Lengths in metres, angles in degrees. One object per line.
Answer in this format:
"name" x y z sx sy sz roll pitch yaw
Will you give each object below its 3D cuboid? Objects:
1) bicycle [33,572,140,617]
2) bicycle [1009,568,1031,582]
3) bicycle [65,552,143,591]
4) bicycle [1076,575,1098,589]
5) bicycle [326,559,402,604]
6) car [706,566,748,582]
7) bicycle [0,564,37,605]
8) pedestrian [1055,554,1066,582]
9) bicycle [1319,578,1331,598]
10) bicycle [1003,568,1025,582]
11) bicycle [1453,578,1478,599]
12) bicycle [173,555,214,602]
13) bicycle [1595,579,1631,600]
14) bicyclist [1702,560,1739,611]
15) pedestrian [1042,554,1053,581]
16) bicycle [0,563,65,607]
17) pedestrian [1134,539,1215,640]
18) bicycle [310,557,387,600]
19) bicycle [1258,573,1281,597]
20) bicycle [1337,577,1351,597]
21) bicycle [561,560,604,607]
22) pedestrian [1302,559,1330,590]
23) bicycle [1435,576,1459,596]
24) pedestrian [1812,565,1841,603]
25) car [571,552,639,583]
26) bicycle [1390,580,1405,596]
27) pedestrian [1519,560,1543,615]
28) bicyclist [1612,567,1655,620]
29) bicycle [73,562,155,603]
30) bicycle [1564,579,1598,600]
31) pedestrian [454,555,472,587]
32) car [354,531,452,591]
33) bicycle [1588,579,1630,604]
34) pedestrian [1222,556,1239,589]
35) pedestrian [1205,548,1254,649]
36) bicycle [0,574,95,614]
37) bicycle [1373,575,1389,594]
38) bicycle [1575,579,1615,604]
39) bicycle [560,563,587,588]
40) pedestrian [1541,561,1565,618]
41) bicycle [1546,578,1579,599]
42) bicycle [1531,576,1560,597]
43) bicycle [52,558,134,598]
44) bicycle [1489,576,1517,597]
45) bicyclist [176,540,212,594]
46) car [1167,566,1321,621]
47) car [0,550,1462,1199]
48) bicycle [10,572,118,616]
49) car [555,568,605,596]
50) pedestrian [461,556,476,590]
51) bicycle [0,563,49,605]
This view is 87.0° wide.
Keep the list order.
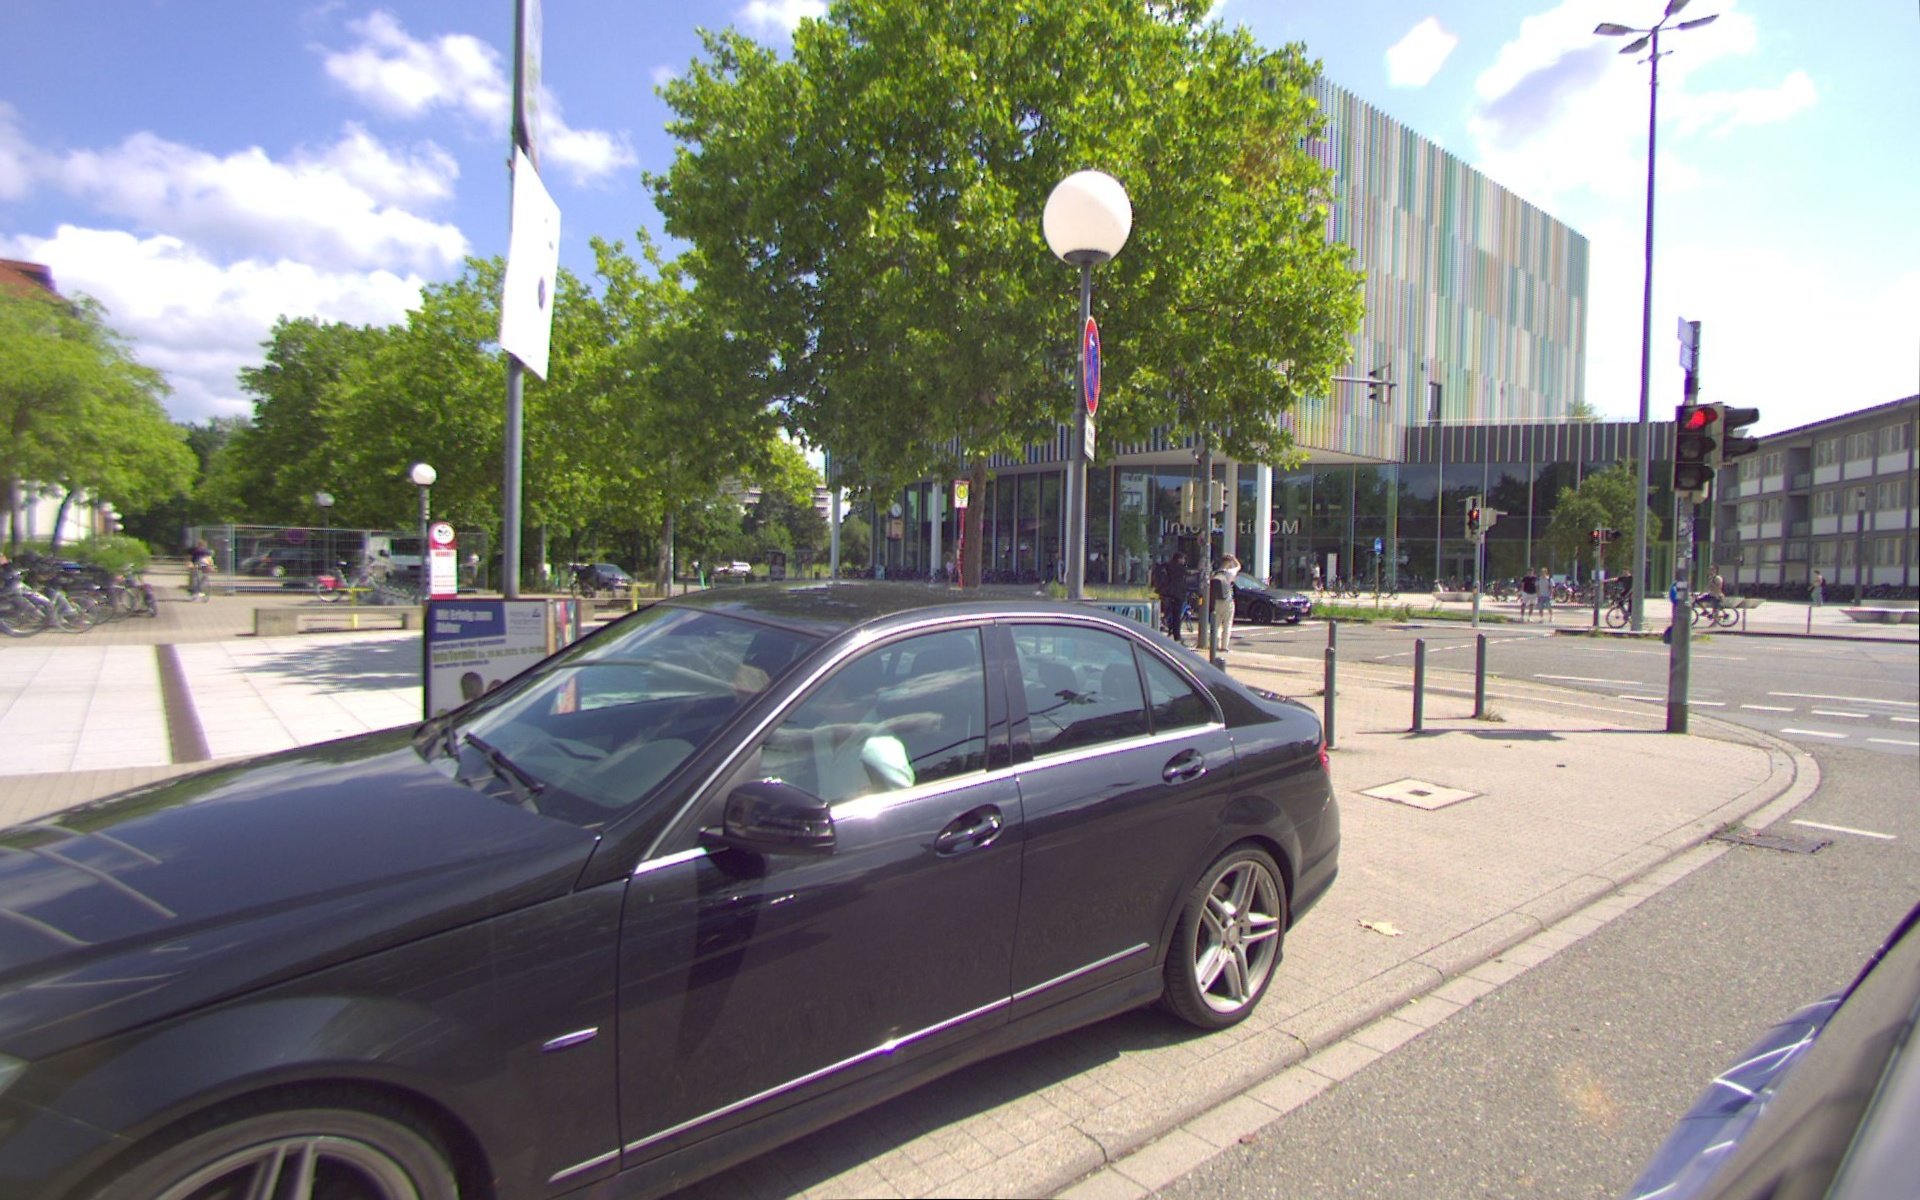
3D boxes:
"bicycle" -19.524 -0.144 22.655 0.596 0.966 1.756 0 1 20
"bicycle" 4.112 -1.707 69.070 1.515 0.967 0.374 -2 3 -24
"bicycle" -26.217 -0.889 31.026 0.596 1.112 1.757 0 3 19
"bicycle" 8.143 -1.159 64.857 1.518 0.785 0.373 -3 3 -36
"bicycle" -15.806 -0.506 26.882 0.596 1.112 1.757 0 3 20
"car" -24.293 -2.729 105.591 3.756 1.529 1.901 -3 3 -34
"bicycle" -26.777 -0.429 27.990 0.596 1.112 1.757 0 3 20
"pedestrian" 6.811 -2.163 68.541 0.553 1.864 0.553 2 3 43
"bicycle" 19.000 -0.637 52.733 0.368 0.967 1.542 1 2 11
"bicycle" 3.717 -1.721 69.637 1.515 0.967 0.374 -2 3 -24
"bicycle" 25.450 -0.592 50.991 0.520 0.967 1.771 -2 2 7
"bicycle" -19.388 -0.553 25.595 1.583 1.152 0.598 3 1 45
"bicycle" 31.675 -0.508 49.113 0.519 0.967 1.775 0 2 -2
"bicyclist" 23.525 -0.456 31.309 0.778 1.557 0.651 1 1 26
"pedestrian" 6.065 -2.228 70.023 0.553 1.864 0.553 2 3 43
"bicycle" -25.485 -0.413 27.413 0.596 1.112 1.757 0 3 20
"pedestrian" 4.180 -0.196 19.722 1.154 1.842 0.857 5 1 -37
"bicycle" -16.418 -0.596 27.217 0.596 1.112 1.757 0 3 20
"bicycle" 16.322 -0.796 53.361 1.520 1.201 0.373 -3 4 -41
"bicycle" 20.017 -0.679 52.796 0.368 0.967 1.768 1 2 11
"bicycle" -10.140 -0.466 27.151 0.784 1.197 2.034 -1 3 -28
"pedestrian" 19.766 -1.407 56.153 1.161 1.671 1.014 0 2 -39
"bicycle" 24.579 -0.723 51.121 0.520 0.967 1.771 0 3 7
"pedestrian" 41.798 -0.786 48.820 0.833 1.812 0.673 1 1 21
"car" -18.765 -1.670 53.341 1.829 1.497 4.937 2 0 -39
"bicycle" 22.406 -0.628 51.794 0.522 0.773 1.764 1 2 18
"pedestrian" 19.370 -0.433 34.319 0.629 1.864 0.474 1 2 37
"bicyclist" 21.236 -0.228 31.919 0.988 1.635 0.652 1 1 22
"bicycle" -24.540 -0.532 29.392 0.596 1.112 1.757 0 3 20
"bicycle" 30.351 -0.517 49.506 0.519 0.967 1.775 0 2 -2
"pedestrian" -27.744 -1.620 56.468 0.670 1.802 0.793 -1 2 -10
"car" -19.037 -1.326 34.462 1.871 1.887 4.933 -2 3 -42
"bicycle" 26.895 -0.351 41.968 0.519 0.967 1.775 0 2 -2
"pedestrian" 15.780 -1.615 59.082 0.677 1.864 0.679 -1 2 -32
"pedestrian" 4.975 -0.030 18.725 0.598 1.823 0.597 2 0 -15
"bicycle" -21.014 -0.151 23.223 0.478 0.879 1.756 0 1 20
"bicycle" 21.677 -0.800 52.136 0.525 0.967 1.755 1 3 30
"bicycle" 26.311 -0.369 41.962 0.519 0.967 1.775 0 2 -2
"bicycle" -19.308 -1.216 50.513 0.628 1.206 2.117 1 0 -39
"pedestrian" 19.803 -0.352 33.794 0.409 1.864 0.574 -2 3 -44
"bicycle" 29.673 -0.560 49.885 0.519 0.967 1.775 0 2 -2
"bicycle" 29.014 -0.681 50.175 0.519 0.967 1.772 0 2 4
"bicycle" -25.496 -0.656 29.797 0.596 1.112 1.757 0 3 20
"bicycle" 27.369 -0.694 51.033 0.519 0.967 1.772 0 2 4
"bicyclist" -19.373 -0.841 25.590 0.740 1.337 0.598 2 1 45
"car" 8.052 -0.256 29.049 1.794 1.433 4.196 -1 2 -31
"car" -0.333 0.608 3.358 4.861 1.417 1.723 -1 4 -40
"bicycle" -20.268 -0.150 22.938 0.596 0.966 1.756 0 1 20
"car" -21.776 -1.019 57.899 1.709 1.469 4.945 1 0 -32
"pedestrian" -26.553 -1.479 54.661 0.670 1.802 0.792 -2 3 -25
"bicycle" -26.154 -0.433 27.658 0.596 1.112 1.757 0 3 20
